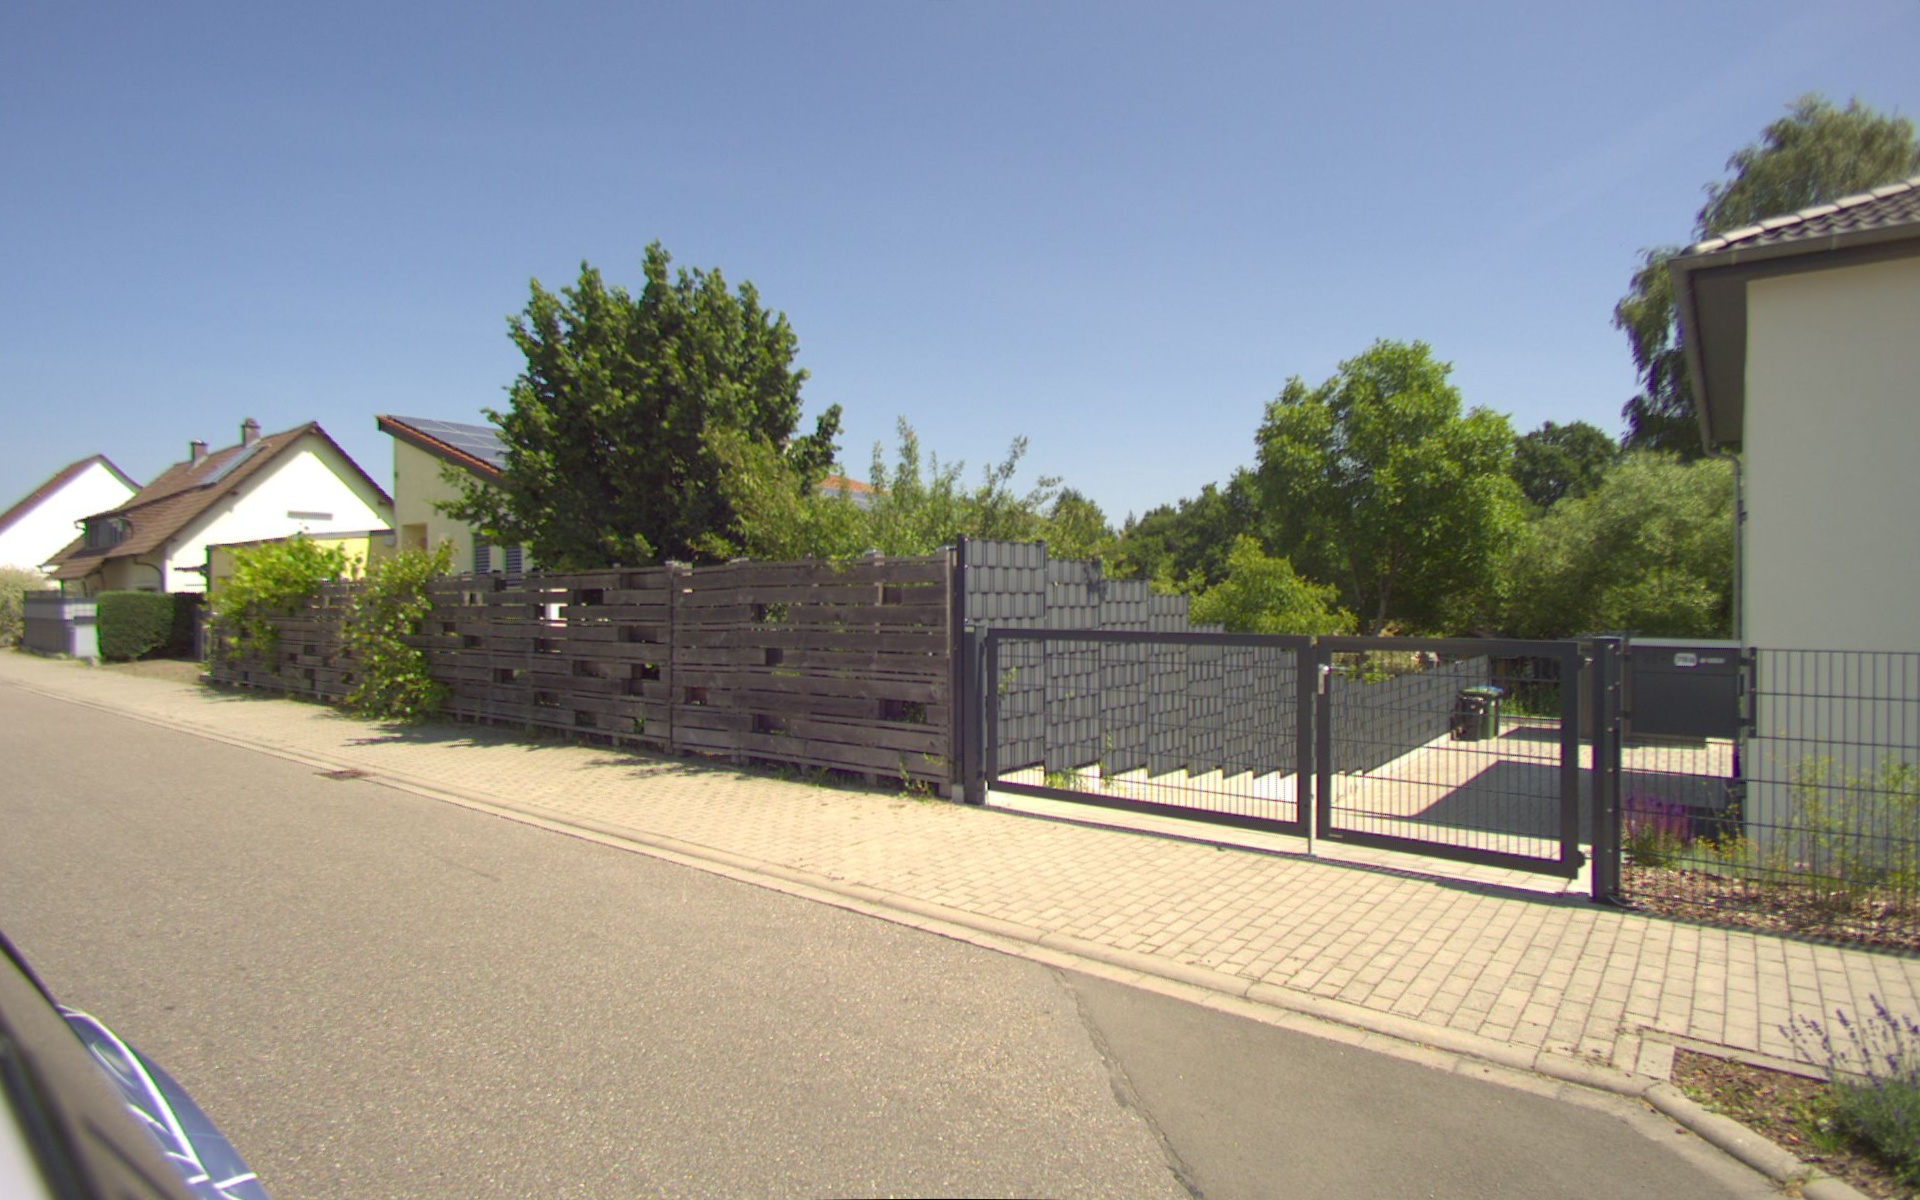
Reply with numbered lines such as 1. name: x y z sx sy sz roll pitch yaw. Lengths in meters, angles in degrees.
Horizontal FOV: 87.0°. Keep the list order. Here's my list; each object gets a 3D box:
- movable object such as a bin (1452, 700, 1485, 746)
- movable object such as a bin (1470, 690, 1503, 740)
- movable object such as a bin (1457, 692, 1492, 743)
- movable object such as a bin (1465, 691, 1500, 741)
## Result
1. movable object such as a bin: 10.912 2.636 21.721 0.562 0.905 0.351 0 0 41
2. movable object such as a bin: 11.751 2.569 22.590 0.612 1.043 0.306 0 0 41
3. movable object such as a bin: 11.229 2.550 22.075 0.612 1.043 0.348 0 0 41
4. movable object such as a bin: 11.515 2.546 22.308 0.612 1.043 0.306 0 0 41
